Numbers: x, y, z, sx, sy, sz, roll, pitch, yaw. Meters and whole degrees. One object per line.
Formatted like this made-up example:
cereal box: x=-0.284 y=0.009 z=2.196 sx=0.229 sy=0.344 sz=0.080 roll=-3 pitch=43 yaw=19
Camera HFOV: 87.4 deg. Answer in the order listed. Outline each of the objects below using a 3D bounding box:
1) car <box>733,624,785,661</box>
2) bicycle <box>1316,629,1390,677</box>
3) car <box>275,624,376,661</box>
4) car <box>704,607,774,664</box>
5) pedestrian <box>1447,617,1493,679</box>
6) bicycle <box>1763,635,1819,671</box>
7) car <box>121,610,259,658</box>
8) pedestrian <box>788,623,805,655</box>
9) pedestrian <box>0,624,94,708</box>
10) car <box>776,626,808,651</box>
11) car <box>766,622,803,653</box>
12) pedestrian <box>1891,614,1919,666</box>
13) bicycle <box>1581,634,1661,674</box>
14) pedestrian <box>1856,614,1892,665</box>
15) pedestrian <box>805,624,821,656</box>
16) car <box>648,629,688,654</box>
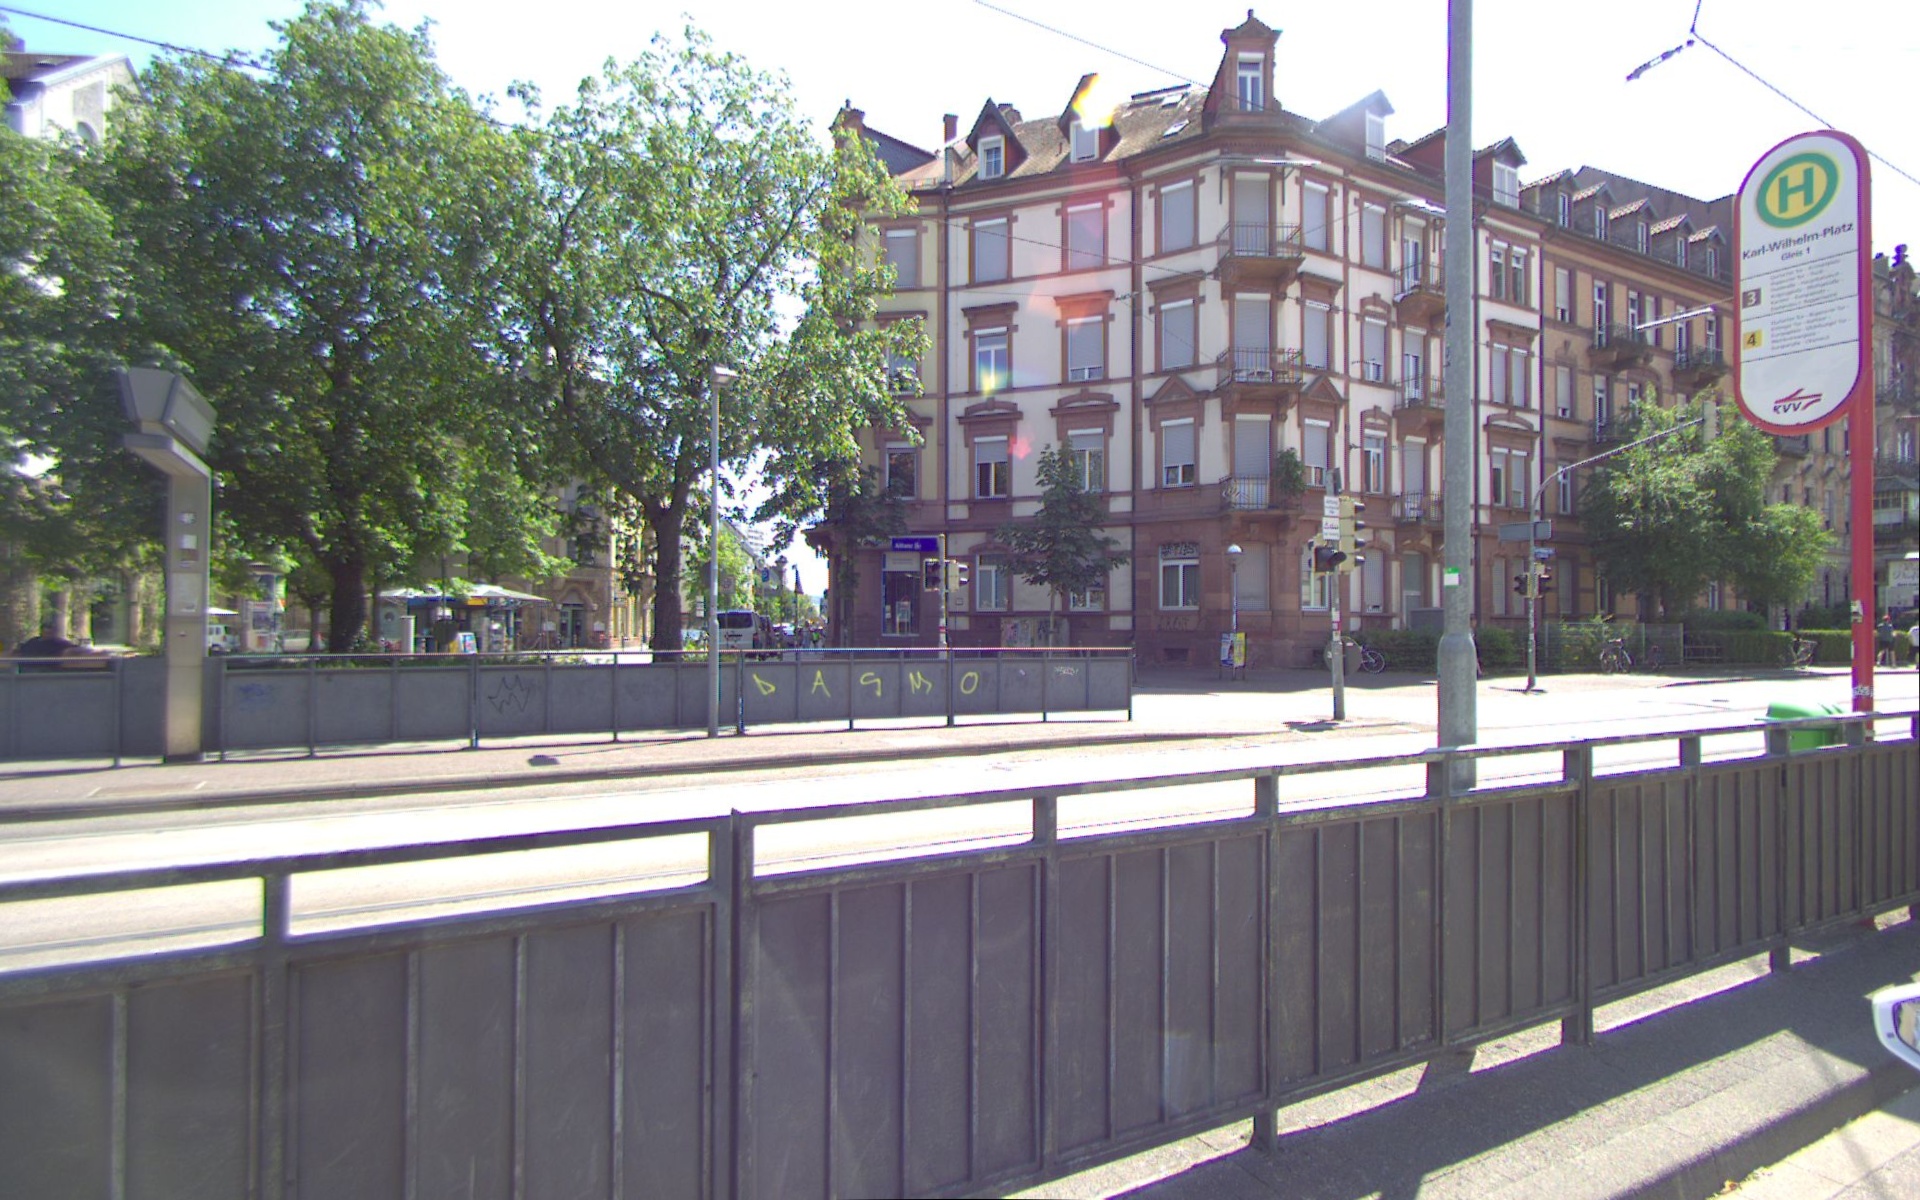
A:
car: x=-9.621 y=2.012 z=48.289 sx=1.893 sy=1.541 sz=3.998 roll=2 pitch=0 yaw=-4
bicycle: x=11.669 y=1.559 z=29.862 sx=1.923 sy=1.312 sz=0.564 roll=2 pitch=0 yaw=11
car: x=-32.071 y=2.160 z=50.891 sx=3.920 sy=1.730 sz=1.761 roll=2 pitch=0 yaw=-14
car: x=-8.324 y=1.300 z=38.217 sx=1.962 sy=1.970 sz=3.998 roll=2 pitch=0 yaw=-4
pedestrian: x=14.458 y=1.348 z=28.520 sx=1.041 sy=1.712 sz=0.723 roll=0 pitch=-1 yaw=17
bicycle: x=28.537 y=1.806 z=34.473 sx=2.750 sy=1.151 sz=0.930 roll=2 pitch=0 yaw=-39
car: x=-31.185 y=1.368 z=40.816 sx=3.932 sy=1.814 sz=1.994 roll=2 pitch=0 yaw=-14
pedestrian: x=-8.367 y=2.003 z=51.499 sx=0.790 sy=1.632 sz=0.731 roll=0 pitch=-1 yaw=-4
pedestrian: x=-14.656 y=1.044 z=16.105 sx=0.925 sy=1.261 sz=0.860 roll=2 pitch=0 yaw=-24
car: x=-12.478 y=2.847 z=74.757 sx=1.962 sy=1.617 sz=3.998 roll=2 pitch=0 yaw=-4
car: x=-10.368 y=2.179 z=59.453 sx=1.684 sy=1.617 sz=3.998 roll=2 pitch=0 yaw=-4
pedestrian: x=34.613 y=1.457 z=36.629 sx=0.865 sy=1.847 sz=0.811 roll=0 pitch=1 yaw=-35
bicycle: x=20.232 y=1.647 z=30.715 sx=2.742 sy=1.151 sz=0.932 roll=2 pitch=0 yaw=-31
pedestrian: x=33.768 y=1.451 z=37.106 sx=0.865 sy=1.847 sz=0.811 roll=0 pitch=1 yaw=-35
pedestrian: x=-7.548 y=2.028 z=51.637 sx=0.742 sy=1.632 sz=0.688 roll=0 pitch=-1 yaw=-4
car: x=-20.654 y=2.919 z=71.163 sx=1.846 sy=1.617 sz=3.998 roll=2 pitch=0 yaw=-4
